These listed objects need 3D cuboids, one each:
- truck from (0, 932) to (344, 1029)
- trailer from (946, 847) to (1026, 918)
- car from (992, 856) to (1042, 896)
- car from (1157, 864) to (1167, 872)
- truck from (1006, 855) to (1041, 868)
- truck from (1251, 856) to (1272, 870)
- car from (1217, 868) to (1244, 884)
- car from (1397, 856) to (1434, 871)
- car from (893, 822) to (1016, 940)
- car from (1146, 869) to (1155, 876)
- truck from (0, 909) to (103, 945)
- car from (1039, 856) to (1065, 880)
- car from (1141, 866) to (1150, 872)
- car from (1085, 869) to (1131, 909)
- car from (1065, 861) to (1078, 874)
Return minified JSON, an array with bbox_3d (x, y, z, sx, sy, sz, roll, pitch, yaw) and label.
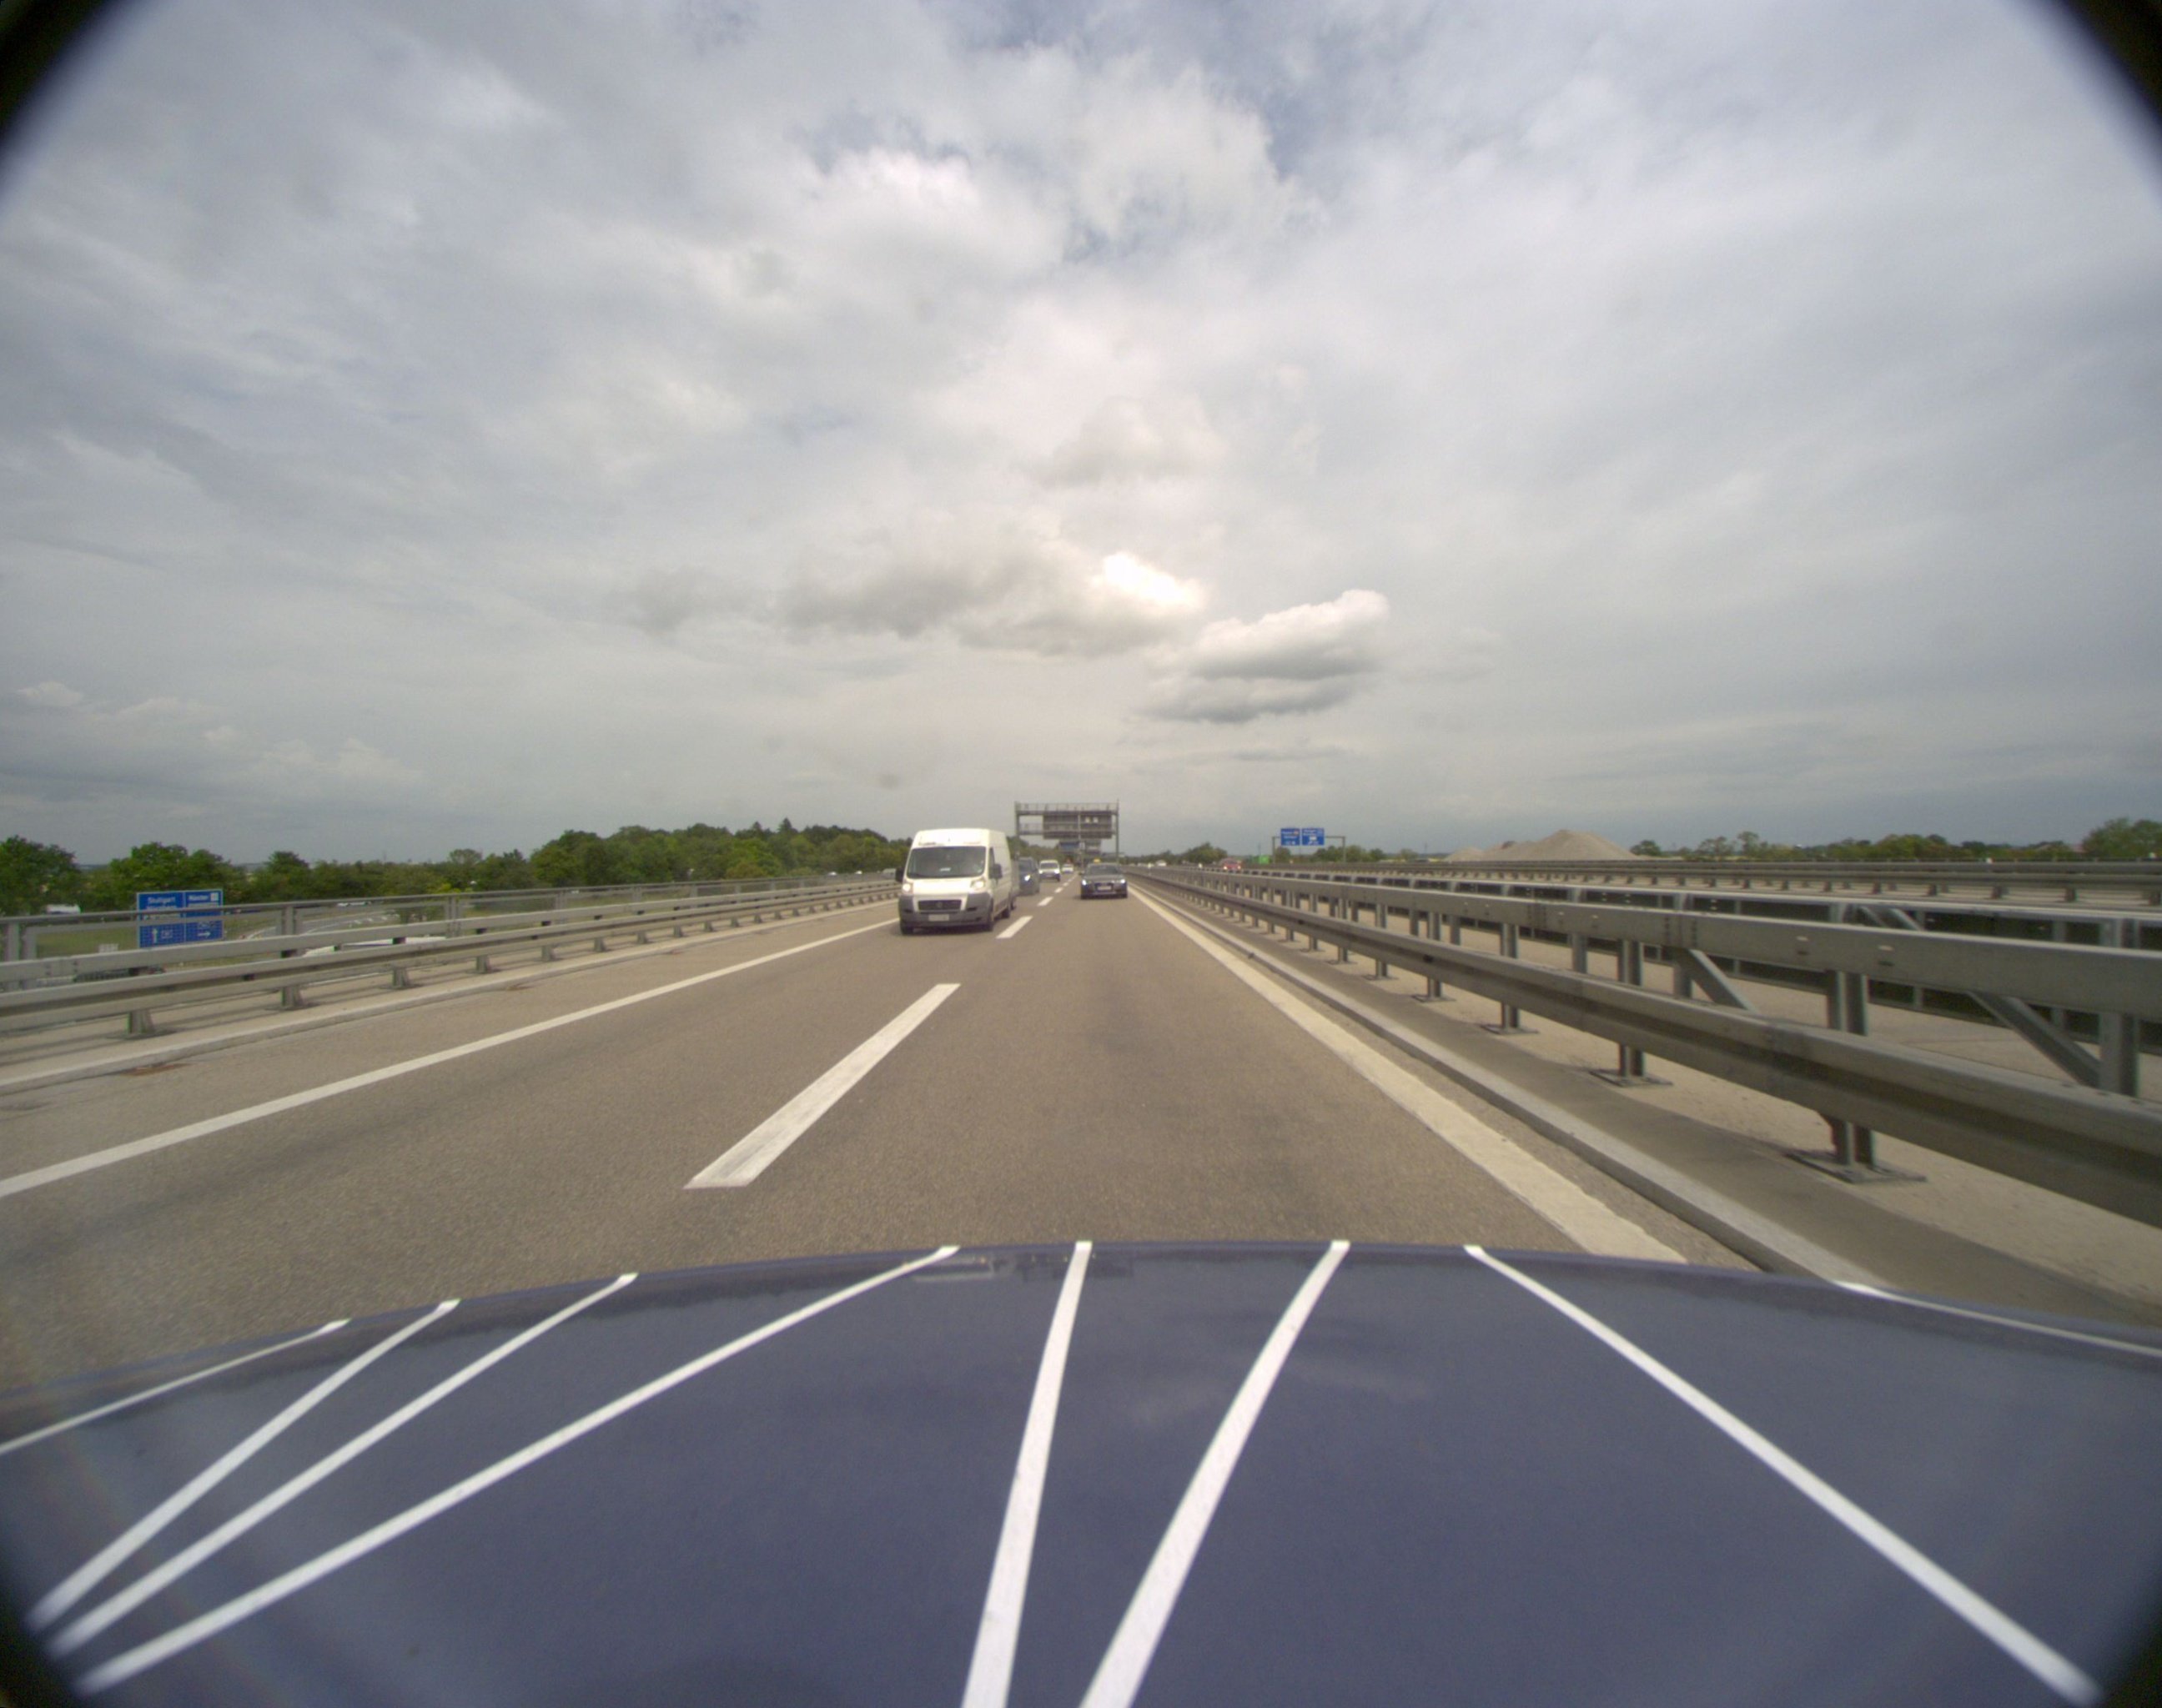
[{"bbox_3d":[-60.241,8.170,50.338,16.184,4.672,3.988,-2,0,-17],"label":"truck"},{"bbox_3d":[-2.951,0.860,24.530,1.859,2.001,4.632,-2,-1,1],"label":"trailer"},{"bbox_3d":[-3.046,1.044,36.975,1.998,1.783,4.001,-2,-1,1],"label":"car"},{"bbox_3d":[20.313,3.505,190.393,1.998,2.001,4.466,-2,-1,1],"label":"car"},{"bbox_3d":[-18.542,2.329,245.145,11.816,3.835,2.840,-1,-1,-43],"label":"truck"},{"bbox_3d":[48.214,2.467,203.589,3.020,3.613,10.438,-2,-1,1],"label":"truck"},{"bbox_3d":[15.018,2.169,76.466,1.824,1.536,4.355,-2,-1,-1],"label":"car"},{"bbox_3d":[31.328,0.847,71.222,1.719,1.319,4.000,-1,0,0],"label":"car"},{"bbox_3d":[-2.959,0.622,19.270,2.119,2.439,6.152,-2,-1,-1],"label":"car"},{"bbox_3d":[20.300,5.397,222.728,1.999,1.870,4.000,-2,-1,-1],"label":"car"},{"bbox_3d":[-142.146,9.872,100.916,3.079,4.065,14.756,-2,-1,21],"label":"truck"},{"bbox_3d":[-2.362,1.131,63.227,1.846,1.870,4.289,-2,-1,1],"label":"car"},{"bbox_3d":[17.522,4.085,206.937,1.999,1.739,4.000,-2,-1,-1],"label":"car"},{"bbox_3d":[1.070,1.376,31.265,1.747,1.380,4.000,-2,0,1],"label":"car"},{"bbox_3d":[-1.514,2.107,120.589,1.846,1.870,4.289,-2,-1,1],"label":"car"}]
